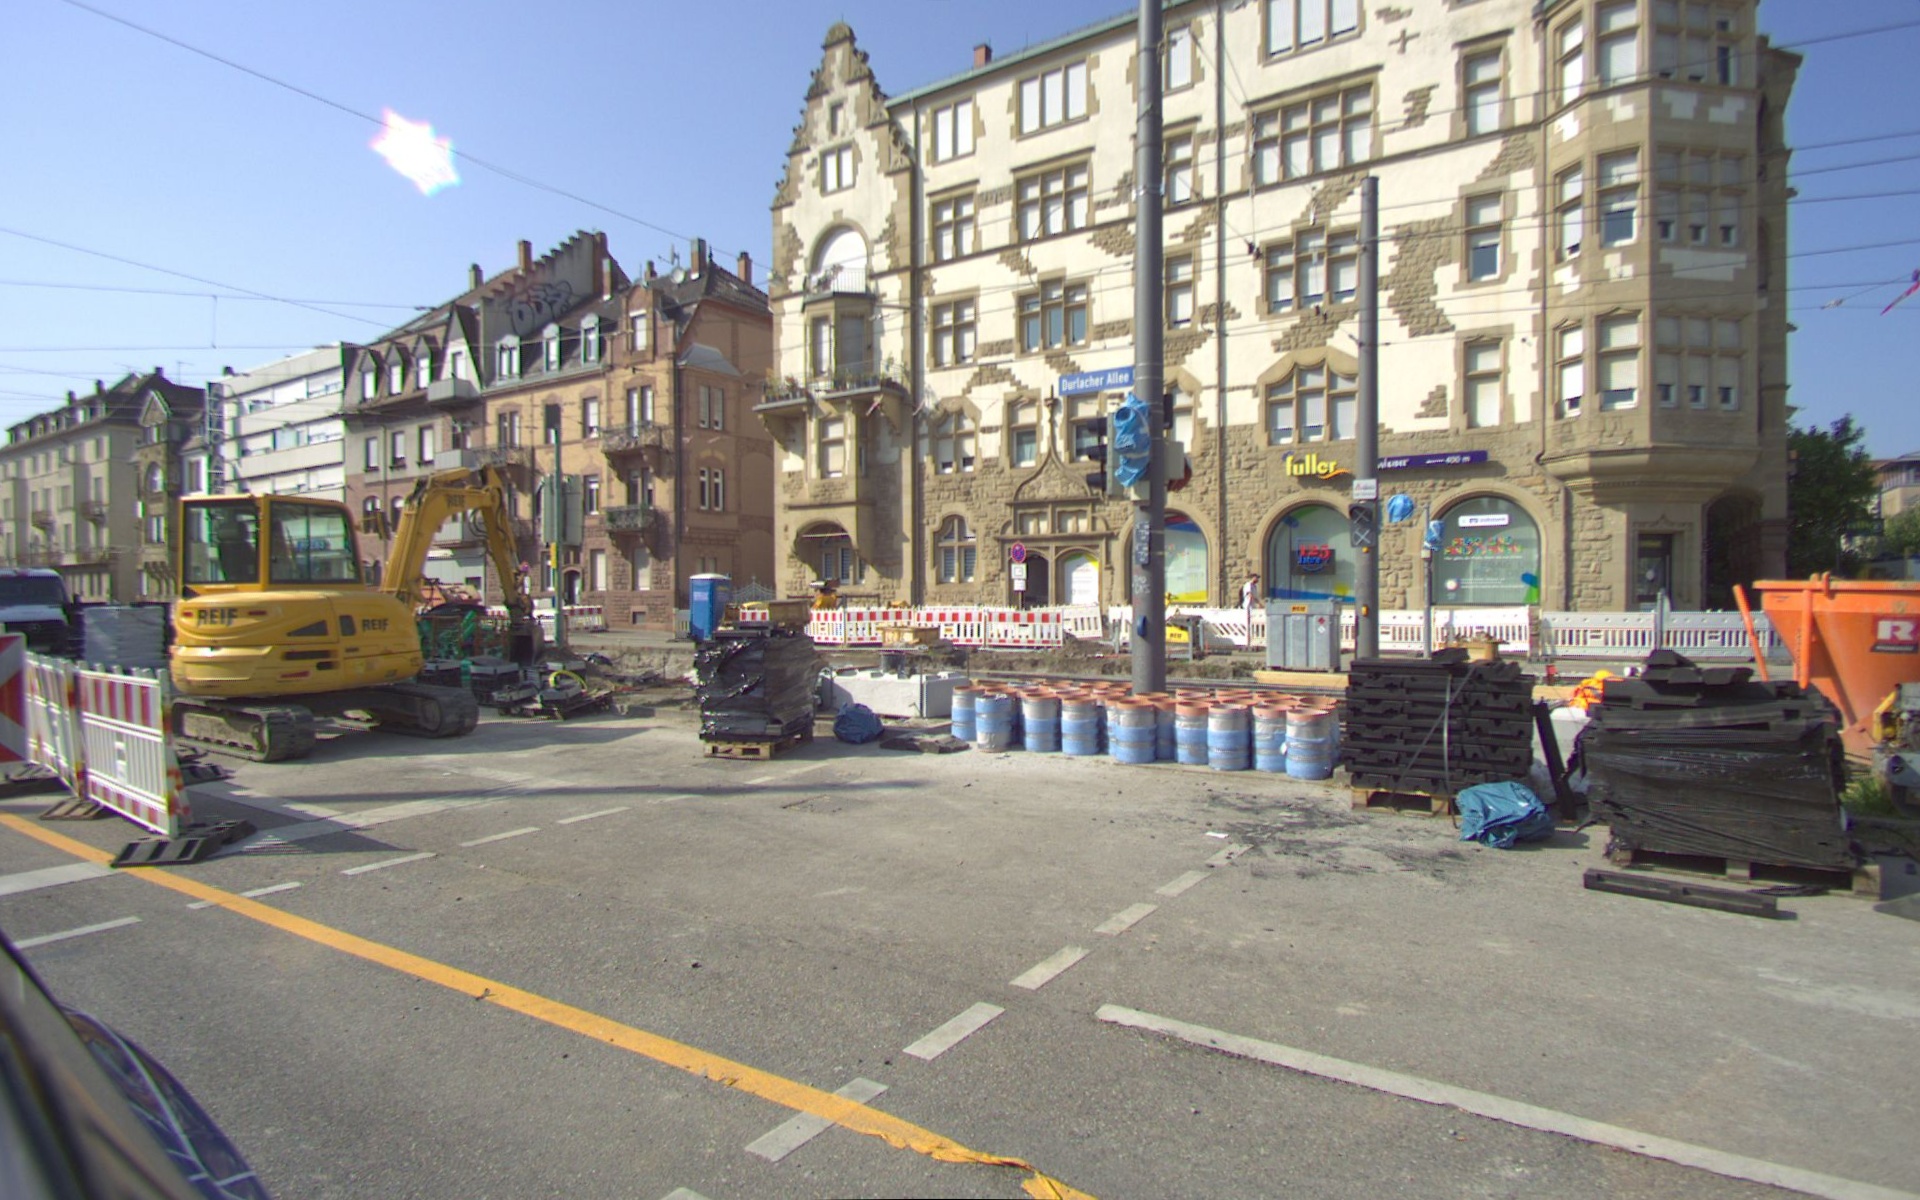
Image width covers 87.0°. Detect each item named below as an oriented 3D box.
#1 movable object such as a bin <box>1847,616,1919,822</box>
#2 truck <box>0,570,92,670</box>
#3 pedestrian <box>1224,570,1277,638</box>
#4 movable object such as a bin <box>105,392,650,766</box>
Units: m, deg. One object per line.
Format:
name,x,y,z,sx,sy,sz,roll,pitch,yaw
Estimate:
movable object such as a bin,6.432,0.692,5.592,2.290,1.178,0.742,0,0,41
truck,-24.020,0.466,25.352,7.041,2.238,2.137,0,-1,38
pedestrian,7.716,0.097,26.880,1.143,1.754,0.907,0,0,34
movable object such as a bin,-6.397,-0.215,12.370,2.097,3.371,6.135,0,0,14
